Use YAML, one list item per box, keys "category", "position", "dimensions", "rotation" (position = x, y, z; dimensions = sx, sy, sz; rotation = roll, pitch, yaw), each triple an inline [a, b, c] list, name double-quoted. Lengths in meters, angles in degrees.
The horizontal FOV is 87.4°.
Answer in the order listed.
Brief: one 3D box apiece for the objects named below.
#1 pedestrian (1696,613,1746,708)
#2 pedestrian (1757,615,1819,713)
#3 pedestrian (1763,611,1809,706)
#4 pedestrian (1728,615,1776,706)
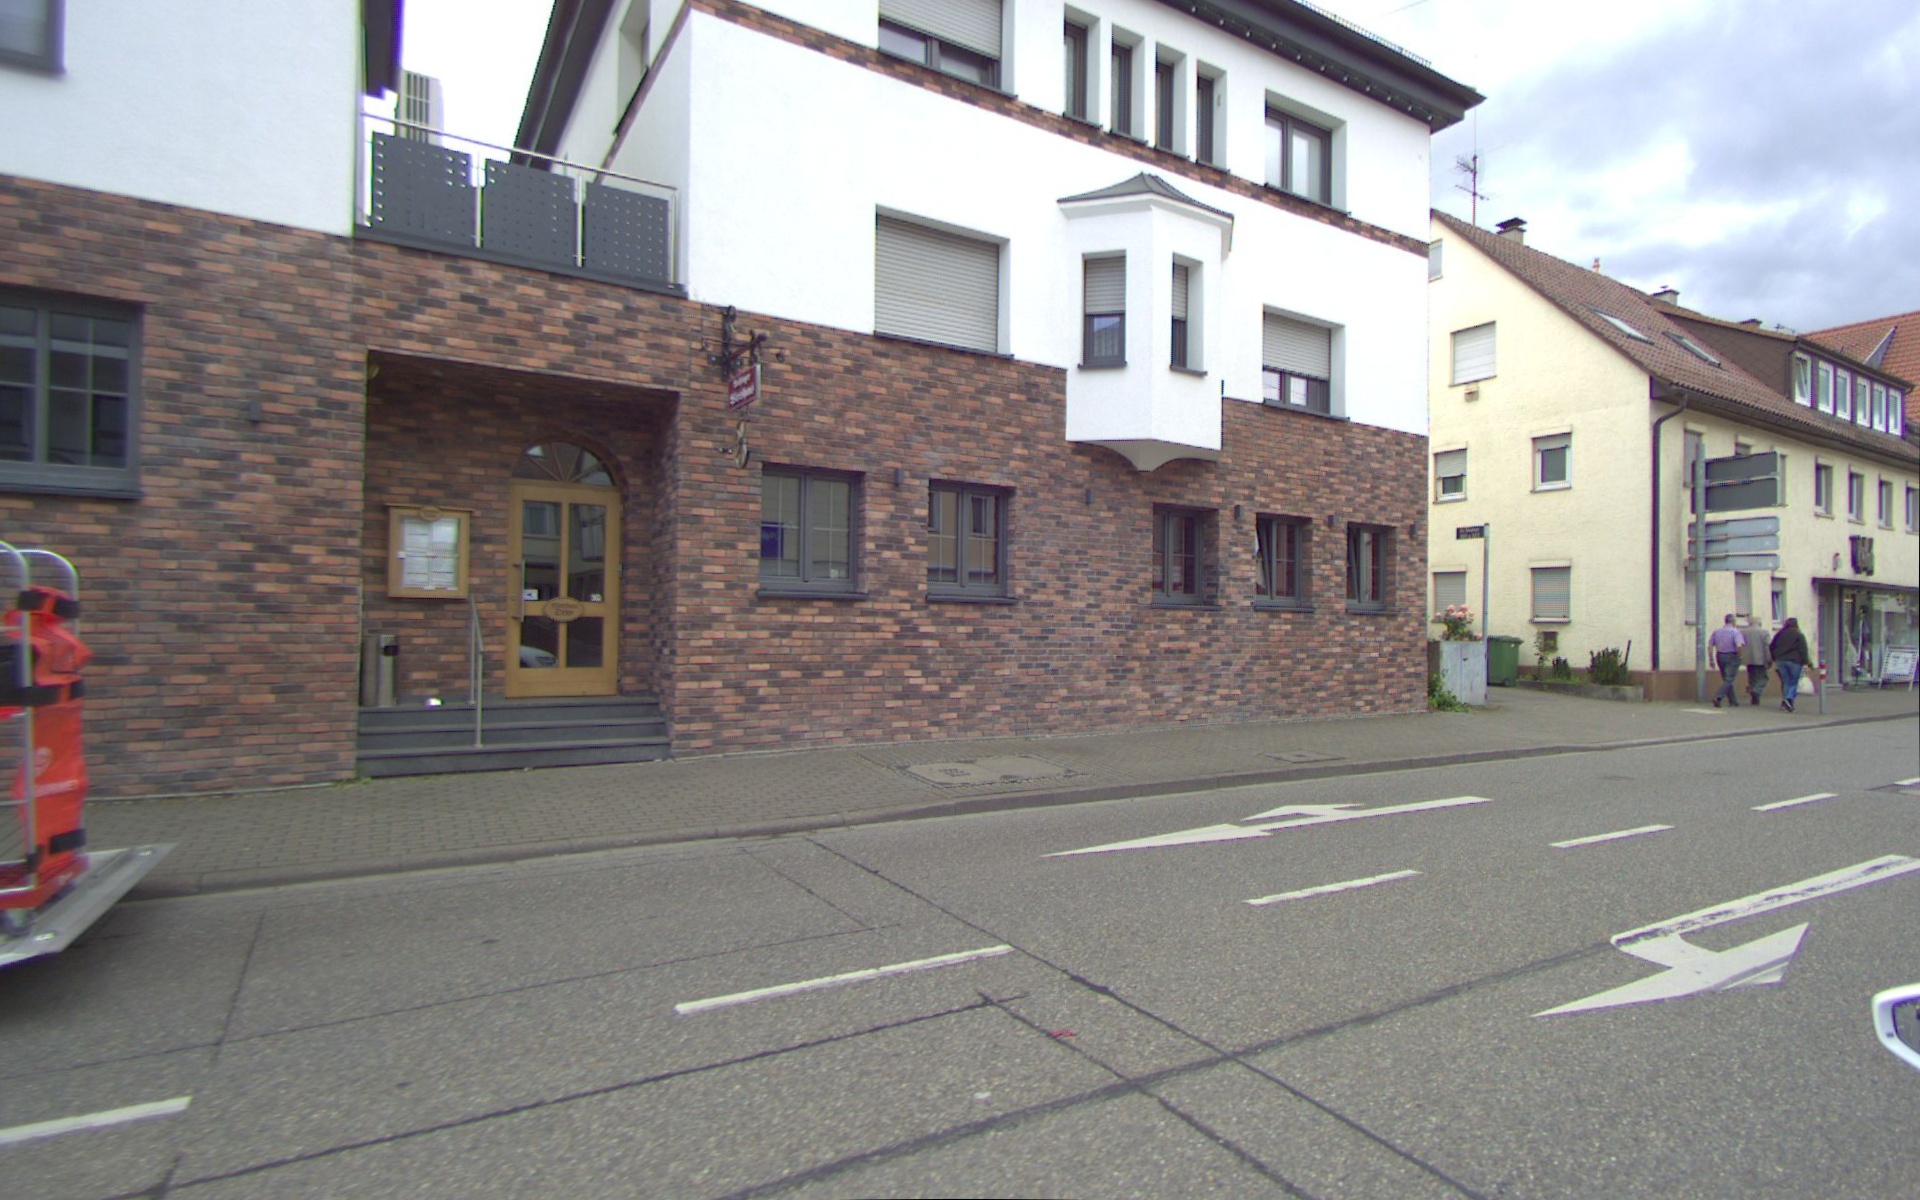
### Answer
- category: "pedestrian"
  position: [14.428, 1.140, 19.040]
  dimensions: [0.640, 1.760, 0.551]
  rotation: [1, -1, -30]
- category: "pedestrian"
  position: [15.204, 1.155, 18.441]
  dimensions: [0.709, 1.760, 0.674]
  rotation: [1, -1, -30]
- category: "pedestrian"
  position: [15.685, 1.100, 19.077]
  dimensions: [0.640, 1.760, 0.494]
  rotation: [1, -1, -30]
- category: "pedestrian"
  position: [15.530, 1.170, 19.704]
  dimensions: [0.640, 1.760, 0.551]
  rotation: [1, -1, -30]
